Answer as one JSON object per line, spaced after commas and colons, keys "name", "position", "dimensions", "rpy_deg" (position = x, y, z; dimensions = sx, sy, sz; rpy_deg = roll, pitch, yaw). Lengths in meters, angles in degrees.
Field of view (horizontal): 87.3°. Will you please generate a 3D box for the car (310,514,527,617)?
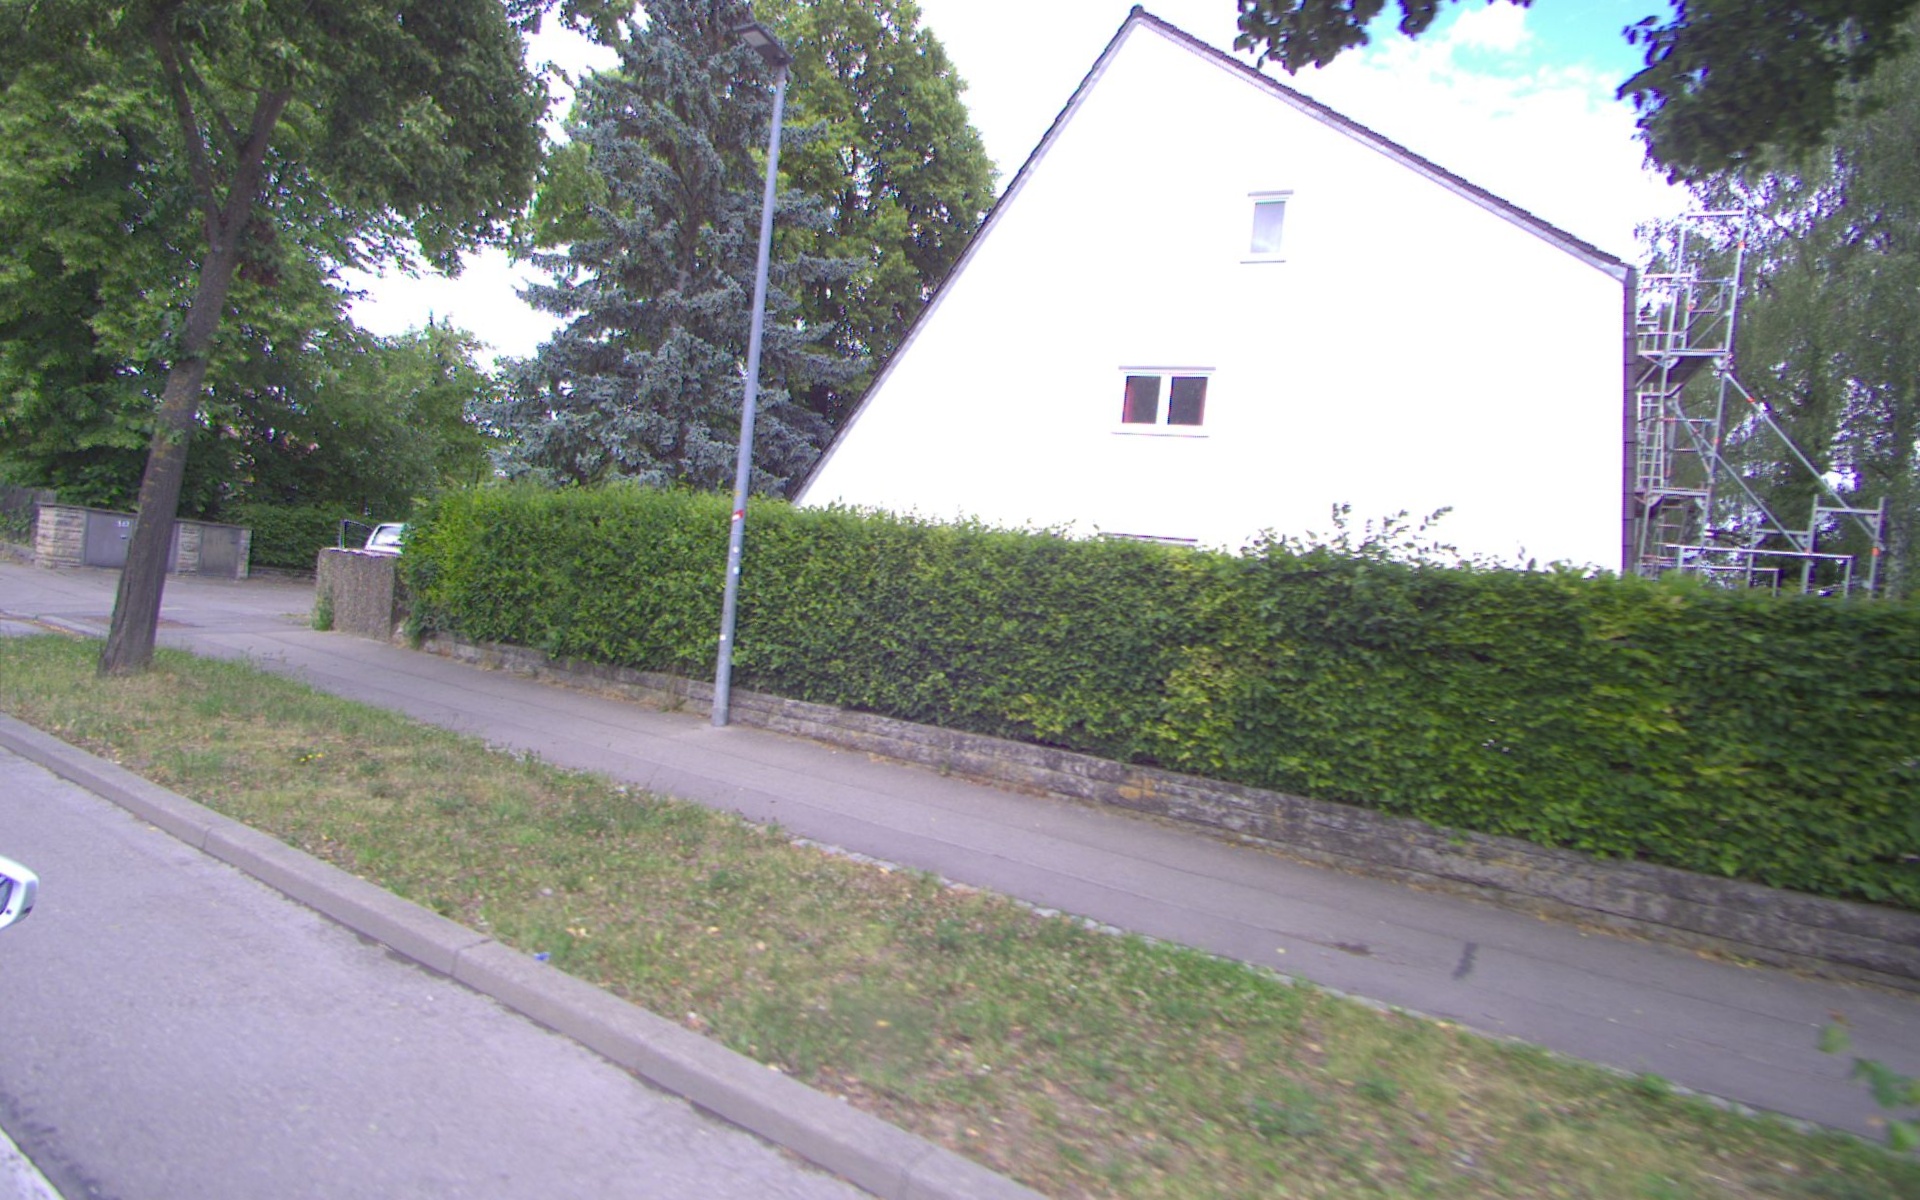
{"name": "car", "position": [-11.207, -0.642, 21.170], "dimensions": [1.716, 1.621, 3.970], "rpy_deg": [7, -1, 12]}
